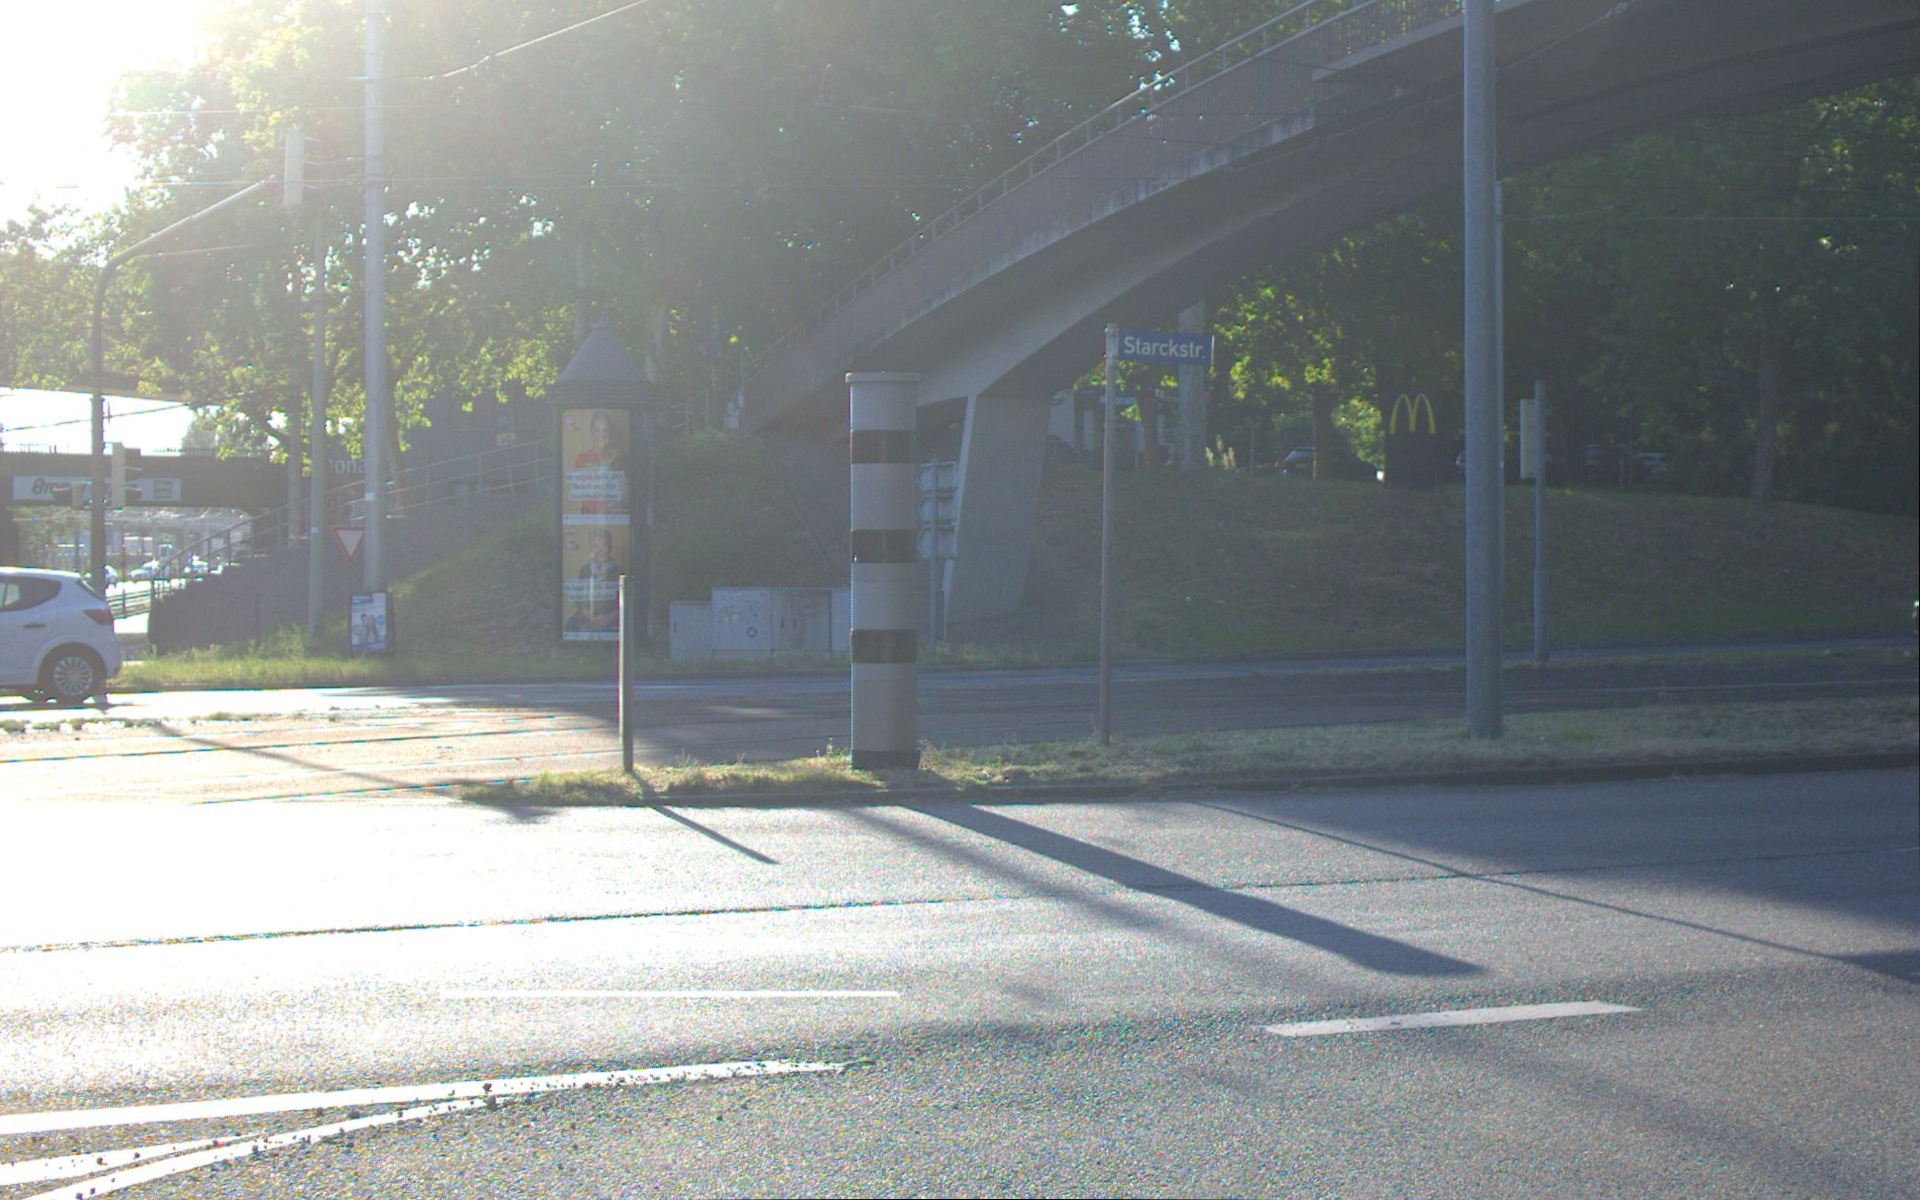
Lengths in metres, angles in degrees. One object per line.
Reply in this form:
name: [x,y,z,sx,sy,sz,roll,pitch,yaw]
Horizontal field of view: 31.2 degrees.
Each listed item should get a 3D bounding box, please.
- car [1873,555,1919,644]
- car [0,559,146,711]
car: [17.418,-0.018,56.936,4.239,1.438,2.012,0,1,-30]
car: [-11.129,0.358,36.944,4.293,1.603,1.857,0,0,-28]
